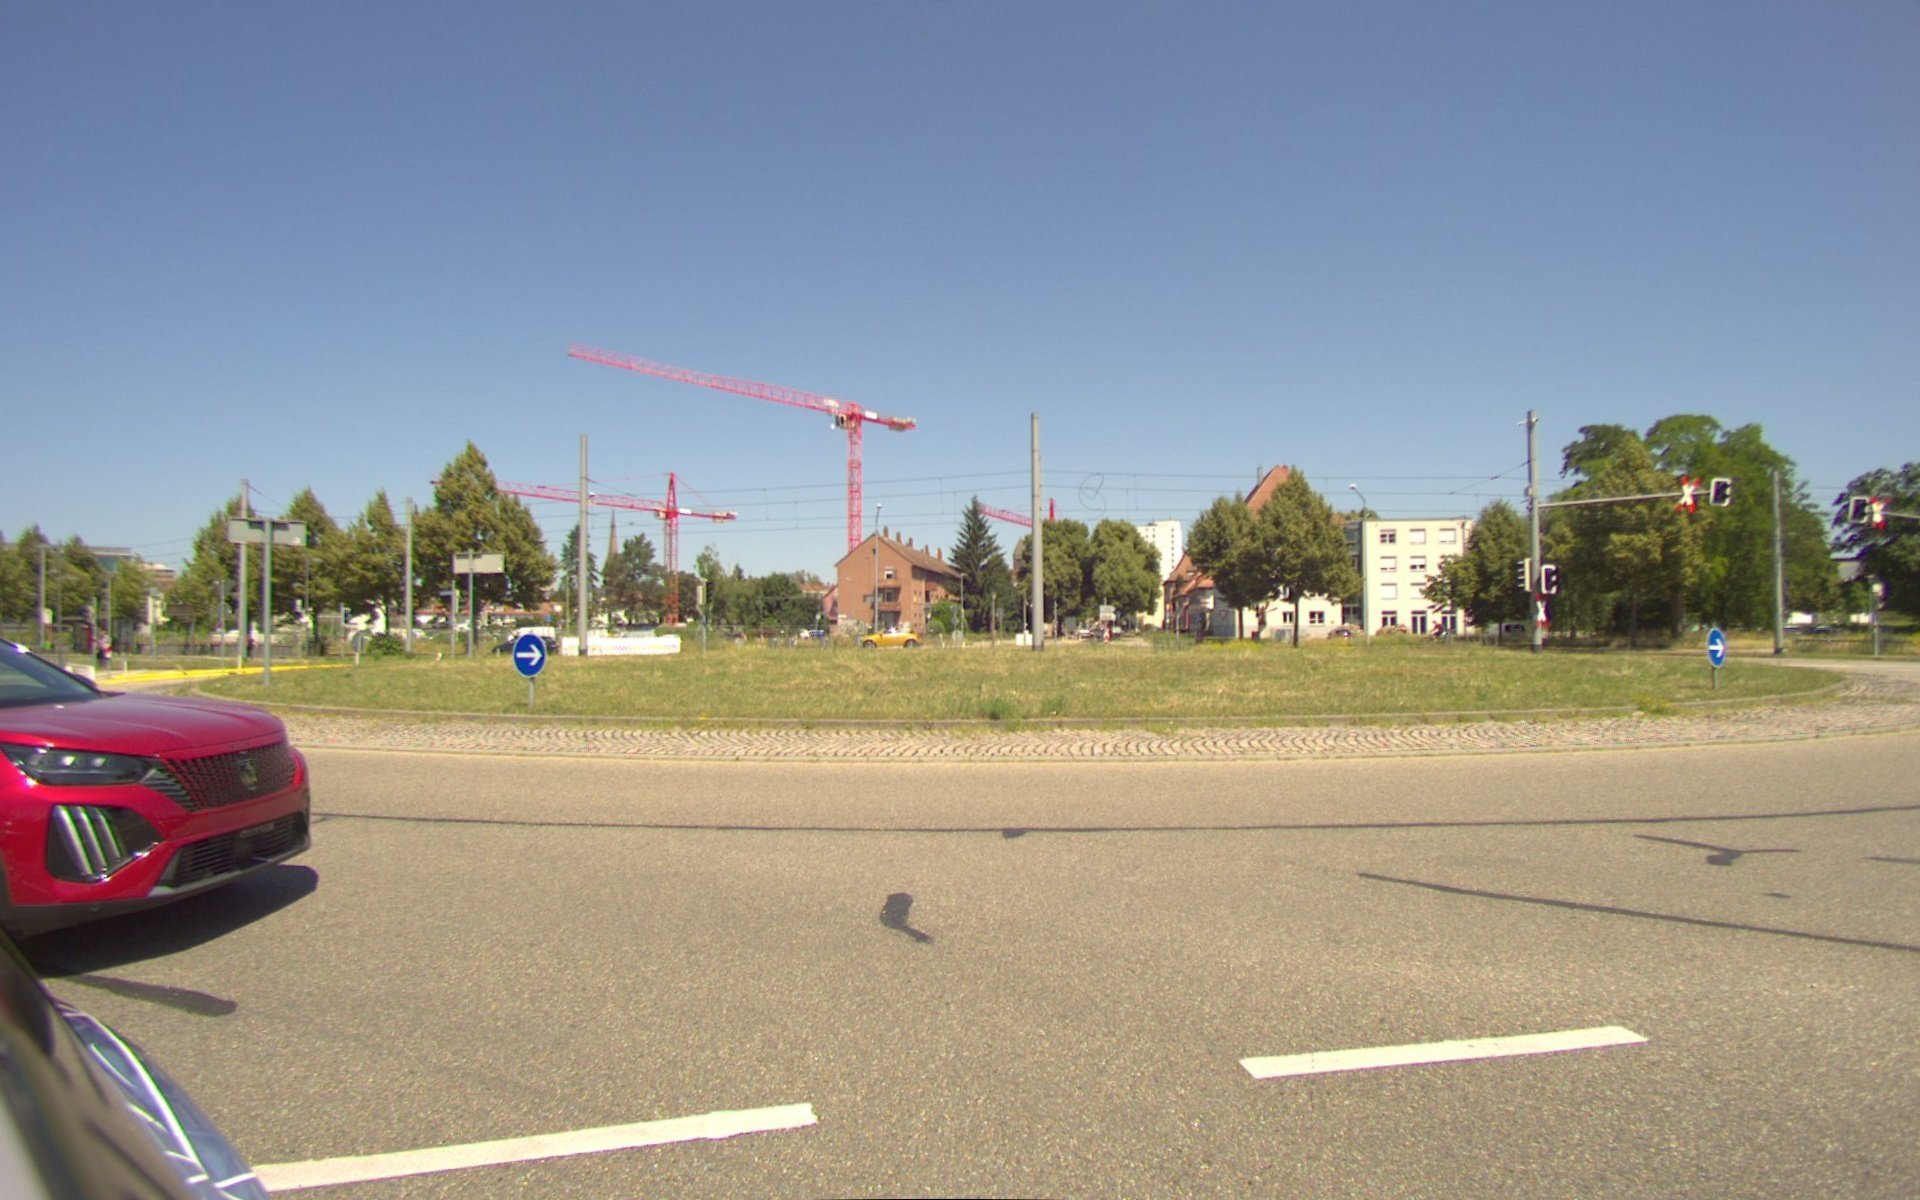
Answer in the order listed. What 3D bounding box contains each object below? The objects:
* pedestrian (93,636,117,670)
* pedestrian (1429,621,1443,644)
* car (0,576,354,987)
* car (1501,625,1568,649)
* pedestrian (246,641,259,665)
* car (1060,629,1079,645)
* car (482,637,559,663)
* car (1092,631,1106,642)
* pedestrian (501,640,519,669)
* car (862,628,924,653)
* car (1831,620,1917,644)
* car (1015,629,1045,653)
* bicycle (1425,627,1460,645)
[{"bbox_3d":[-42.978,2.652,50.847,0.781,1.652,0.750,0,-2,40],"label":"pedestrian"},{"bbox_3d":[31.086,2.126,66.093,0.814,1.461,0.703,0,-2,26],"label":"pedestrian"},{"bbox_3d":[-5.359,0.752,4.627,4.150,1.539,1.722,-1,-2,-2],"label":"car"},{"bbox_3d":[43.242,2.751,76.238,3.964,1.697,1.990,1,-2,16],"label":"car"},{"bbox_3d":[-43.187,3.234,61.773,0.544,1.417,0.589,-3,-2,44],"label":"pedestrian"},{"bbox_3d":[14.235,4.789,131.387,1.981,2.029,3.980,1,-2,15],"label":"car"},{"bbox_3d":[-27.169,3.067,62.642,3.941,1.475,2.001,1,-2,-2],"label":"car"},{"bbox_3d":[19.370,5.055,141.086,1.697,1.431,3.888,1,-2,10],"label":"car"},{"bbox_3d":[-30.079,3.654,67.608,0.731,1.913,0.804,0,-2,40],"label":"pedestrian"},{"bbox_3d":[-4.053,2.429,60.984,3.604,1.413,1.835,0,-1,-8],"label":"car"},{"bbox_3d":[63.763,2.224,70.661,1.965,1.586,4.013,2,-2,-26],"label":"car"},{"bbox_3d":[6.237,3.618,89.999,1.981,2.029,3.980,1,-2,15],"label":"car"},{"bbox_3d":[31.433,2.325,65.936,2.048,1.123,0.723,0,-2,28],"label":"bicycle"}]
